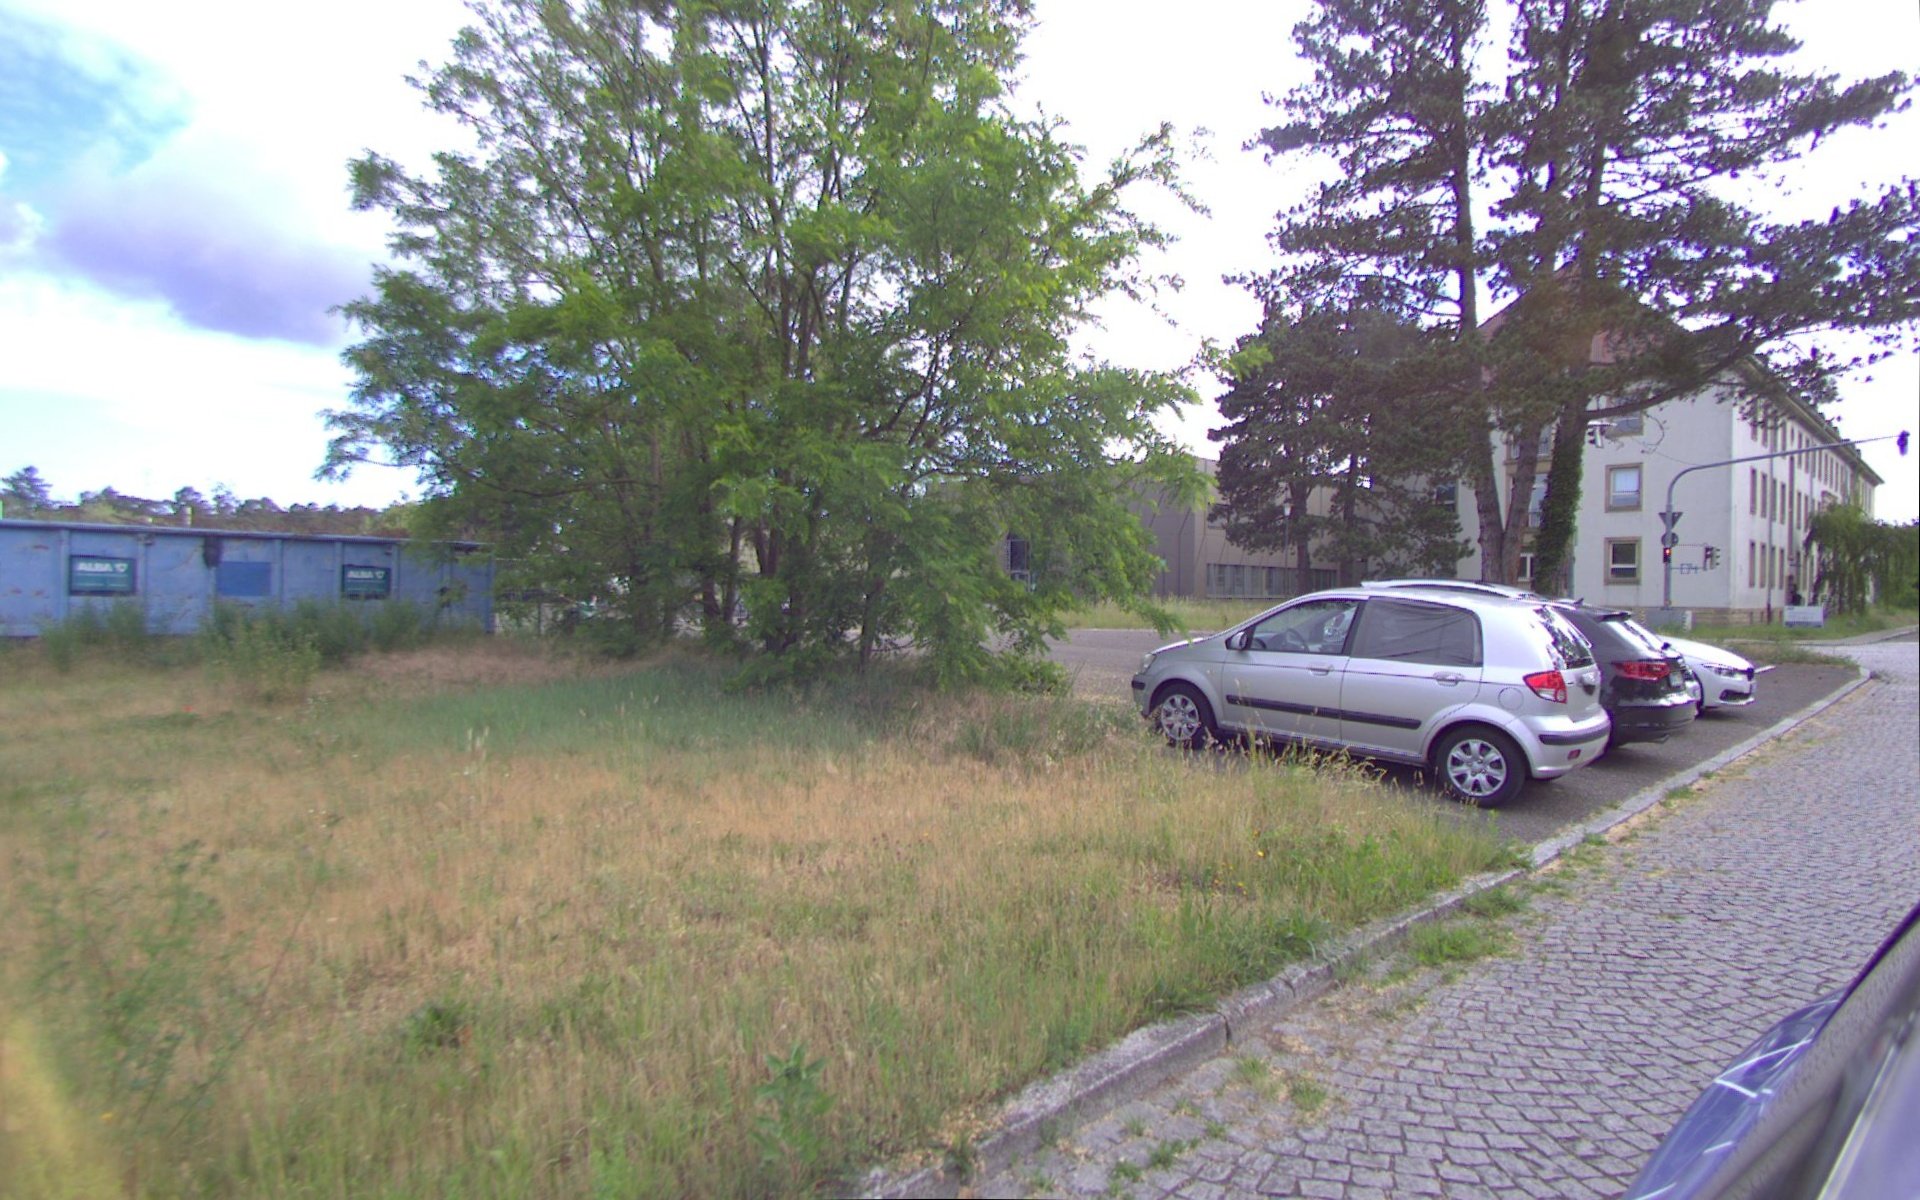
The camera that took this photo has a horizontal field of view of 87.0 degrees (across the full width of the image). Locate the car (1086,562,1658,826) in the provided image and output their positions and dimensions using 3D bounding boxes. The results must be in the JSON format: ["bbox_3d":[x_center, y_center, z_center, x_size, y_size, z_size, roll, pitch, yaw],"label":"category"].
[{"bbox_3d":[3.259,0.552,8.587,1.775,1.533,4.078,0,4,-45],"label":"car"}]

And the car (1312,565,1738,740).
[{"bbox_3d":[6.845,0.484,12.573,4.242,1.615,1.855,5,4,44],"label":"car"}]

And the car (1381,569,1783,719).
[{"bbox_3d":[8.624,0.478,14.346,1.874,1.584,4.497,0,4,-45],"label":"car"}]

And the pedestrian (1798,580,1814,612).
[{"bbox_3d":[46.771,-0.226,55.965,0.522,1.722,0.568,1,0,-39],"label":"pedestrian"}]

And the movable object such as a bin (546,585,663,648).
[{"bbox_3d":[-6.213,0.249,17.571,2.683,1.000,0.840,2,1,45],"label":"movable object such as a bin"}]

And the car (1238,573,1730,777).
[{"bbox_3d":[5.196,0.580,10.415,1.854,1.470,4.078,0,4,-45],"label":"car"}]
